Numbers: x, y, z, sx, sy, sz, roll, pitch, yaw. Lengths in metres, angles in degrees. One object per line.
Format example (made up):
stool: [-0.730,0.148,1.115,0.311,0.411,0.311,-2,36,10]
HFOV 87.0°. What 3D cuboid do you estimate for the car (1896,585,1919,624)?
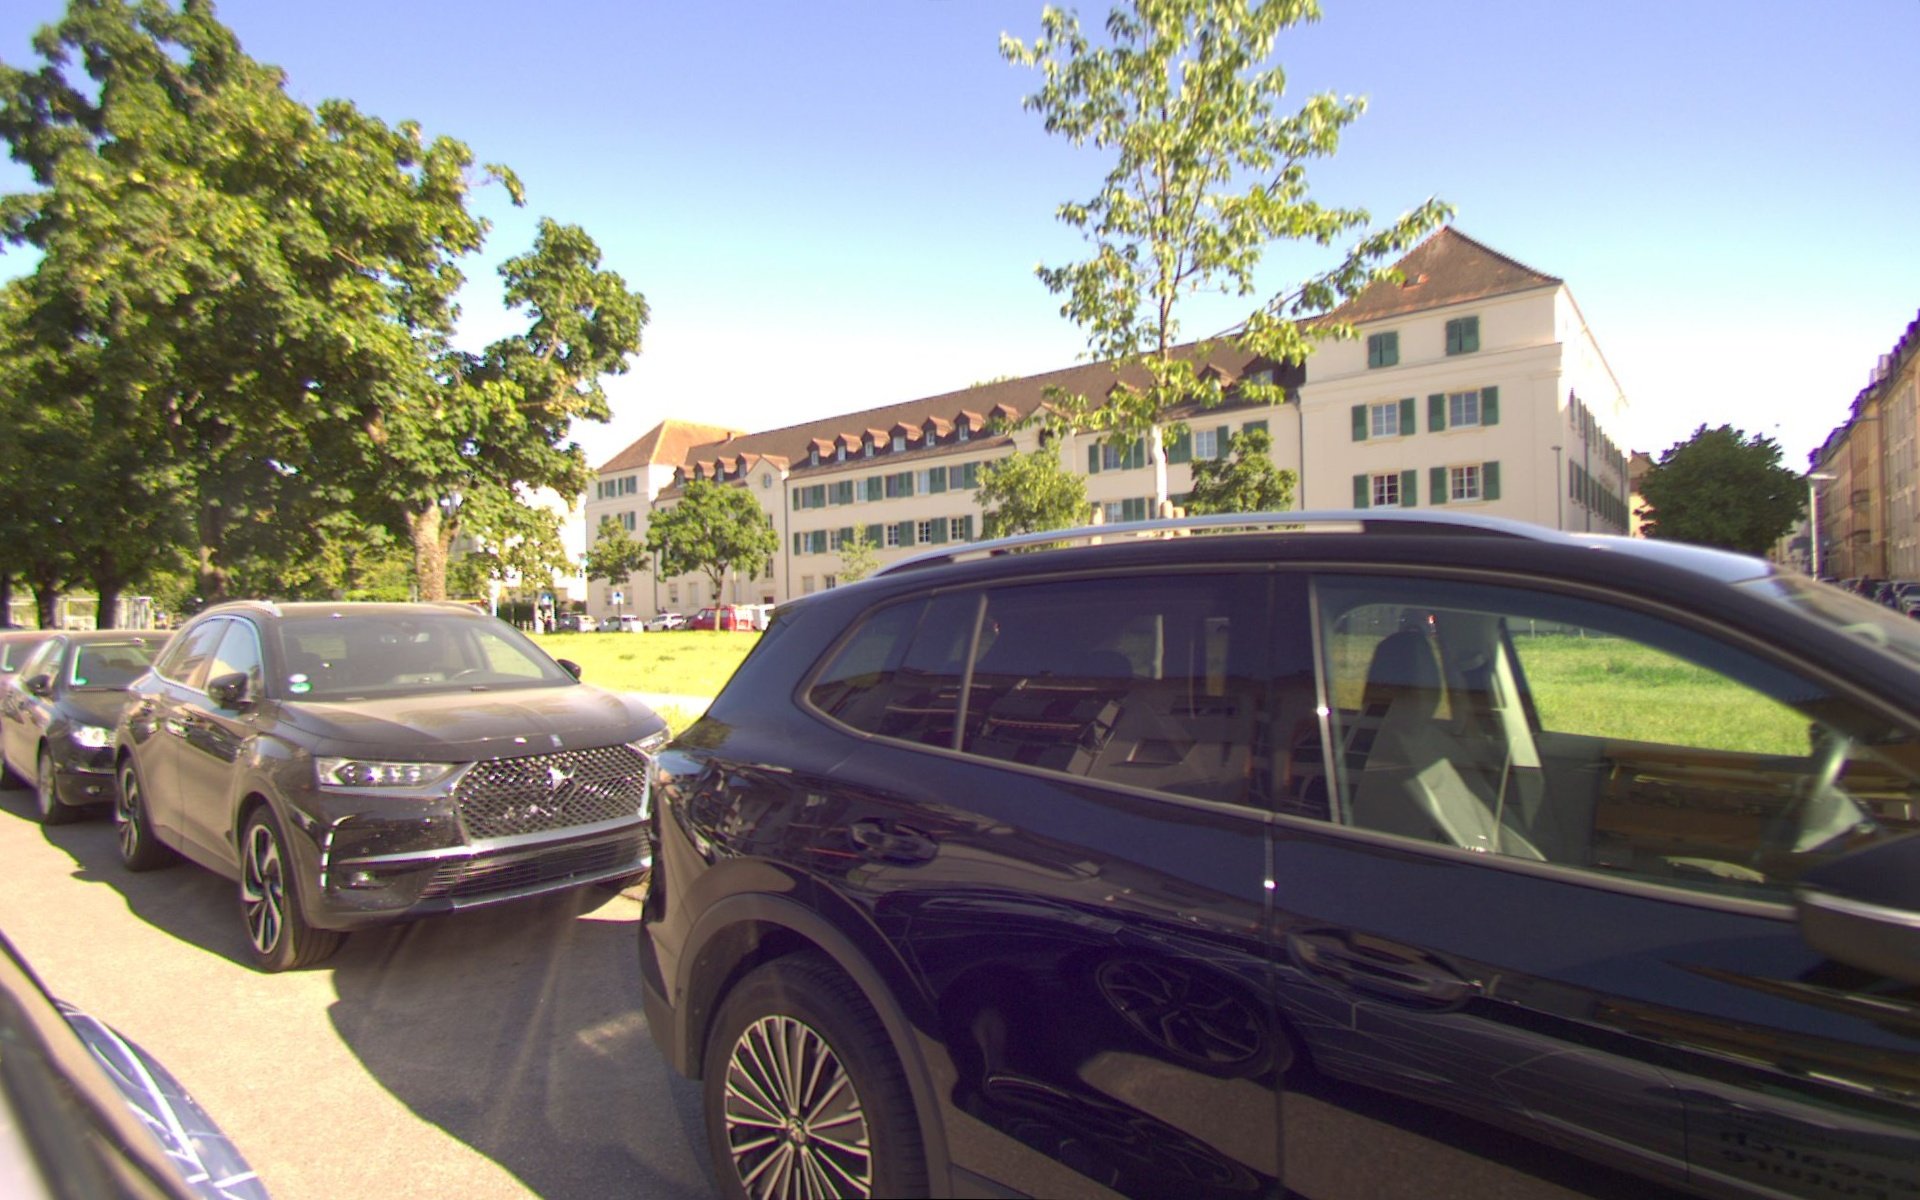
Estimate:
car: [41.244,0.137,42.810,1.934,1.580,3.835,-2,0,36]

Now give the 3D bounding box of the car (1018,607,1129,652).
car: [4.935,1.290,44.255,4.252,1.834,2.214,-2,-1,39]

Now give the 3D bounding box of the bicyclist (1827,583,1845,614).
bicyclist: [39.009,-0.063,45.080,0.533,1.374,0.776,-2,-1,37]

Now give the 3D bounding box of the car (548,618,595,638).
car: [-27.515,1.976,71.681,3.512,1.343,1.633,-2,-1,40]

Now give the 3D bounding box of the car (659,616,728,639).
car: [-17.748,1.821,67.234,4.954,1.496,1.973,-2,-1,40]

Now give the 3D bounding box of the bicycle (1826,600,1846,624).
bicycle: [38.965,0.521,45.003,0.528,1.024,1.469,-2,-1,37]

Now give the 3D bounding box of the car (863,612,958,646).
car: [-2.883,1.670,58.312,5.257,1.834,2.424,-2,-1,42]

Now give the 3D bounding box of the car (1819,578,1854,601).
car: [69.011,-0.810,79.761,1.955,1.721,4.108,-2,-1,40]

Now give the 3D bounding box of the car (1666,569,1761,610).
car: [50.258,-0.664,67.583,4.947,2.538,1.932,-2,-1,37]

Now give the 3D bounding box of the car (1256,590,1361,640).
car: [14.757,0.653,42.955,3.894,2.029,1.648,-1,-1,40]

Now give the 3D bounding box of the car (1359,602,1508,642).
car: [18.496,0.874,39.663,4.954,1.496,1.973,-2,-1,40]

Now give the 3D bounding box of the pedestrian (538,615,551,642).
pedestrian: [-26.738,1.809,65.045,0.537,1.698,0.674,-1,-1,-44]

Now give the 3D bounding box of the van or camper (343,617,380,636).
van or camper: [-66.860,2.932,113.043,4.372,2.029,2.244,-1,0,41]

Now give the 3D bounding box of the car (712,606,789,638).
car: [-14.041,1.500,67.658,5.251,1.999,2.199,-2,-1,39]

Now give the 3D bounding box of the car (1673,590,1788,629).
car: [31.509,0.398,41.431,3.664,1.533,1.690,-2,-1,40]

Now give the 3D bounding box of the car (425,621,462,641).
car: [-50.462,3.042,98.774,3.999,1.807,1.929,-2,-1,42]

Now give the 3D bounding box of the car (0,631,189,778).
car: [-11.217,1.148,12.452,4.663,1.503,1.738,-2,-2,40]

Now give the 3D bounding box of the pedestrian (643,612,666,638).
pedestrian: [-23.899,1.938,79.172,1.161,1.978,1.328,-2,-1,35]

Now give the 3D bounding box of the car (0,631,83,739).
car: [-14.657,1.224,15.261,3.682,1.504,1.570,-2,-2,39]

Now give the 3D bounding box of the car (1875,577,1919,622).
car: [44.149,-0.057,46.848,1.996,1.988,4.993,-2,0,35]

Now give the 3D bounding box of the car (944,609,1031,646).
car: [1.465,1.479,54.508,4.163,1.919,2.241,-2,-1,39]

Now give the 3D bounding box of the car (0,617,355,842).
car: [-7.307,0.962,9.080,4.466,1.531,1.854,-2,-3,40]

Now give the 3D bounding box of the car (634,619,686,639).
car: [-22.061,2.135,74.461,3.997,1.366,1.751,-2,-1,40]

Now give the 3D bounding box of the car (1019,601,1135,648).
car: [5.836,1.251,50.940,5.252,2.233,2.506,-2,-1,39]

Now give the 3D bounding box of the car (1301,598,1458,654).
car: [14.758,0.923,35.714,4.700,1.834,2.137,-2,-1,39]

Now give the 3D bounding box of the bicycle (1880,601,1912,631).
bicycle: [33.364,0.550,36.075,0.658,1.024,1.956,-2,-1,38]

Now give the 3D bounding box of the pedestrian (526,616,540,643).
pedestrian: [-27.245,1.869,64.537,0.750,1.698,0.537,-2,-1,43]

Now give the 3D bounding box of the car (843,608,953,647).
car: [-3.192,1.397,51.272,5.452,1.834,2.424,-2,-1,42]

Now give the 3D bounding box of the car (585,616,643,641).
car: [-23.354,1.957,68.324,4.232,1.595,1.771,-2,-1,40]

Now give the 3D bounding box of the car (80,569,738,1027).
car: [-3.460,0.775,5.849,4.736,1.622,1.800,-2,-2,41]

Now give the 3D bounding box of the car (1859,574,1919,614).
car: [49.566,-0.313,53.834,2.150,1.998,4.848,-2,-1,37]

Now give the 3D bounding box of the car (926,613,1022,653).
car: [0.635,1.542,47.959,4.008,1.763,2.292,-2,-1,42]

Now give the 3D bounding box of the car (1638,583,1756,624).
car: [33.627,0.178,46.237,4.237,1.714,1.685,-2,-1,38]

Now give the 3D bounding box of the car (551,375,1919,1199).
car: [1.224,0.628,1.967,4.712,1.651,1.823,-2,-2,41]

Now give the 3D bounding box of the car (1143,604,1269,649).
car: [11.156,1.200,46.123,5.155,1.900,2.131,-2,-1,41]

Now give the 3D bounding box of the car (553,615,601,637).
car: [-36.451,2.423,96.328,2.043,1.970,3.763,-2,-1,42]

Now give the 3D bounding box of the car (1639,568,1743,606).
car: [32.143,-0.554,44.589,3.609,1.532,1.687,-2,-1,37]

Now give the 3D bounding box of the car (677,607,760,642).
car: [-14.641,1.498,61.193,5.254,1.999,2.198,-2,-1,41]

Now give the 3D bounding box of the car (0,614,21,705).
car: [-21.219,1.215,21.138,4.989,1.798,1.845,-1,0,41]
